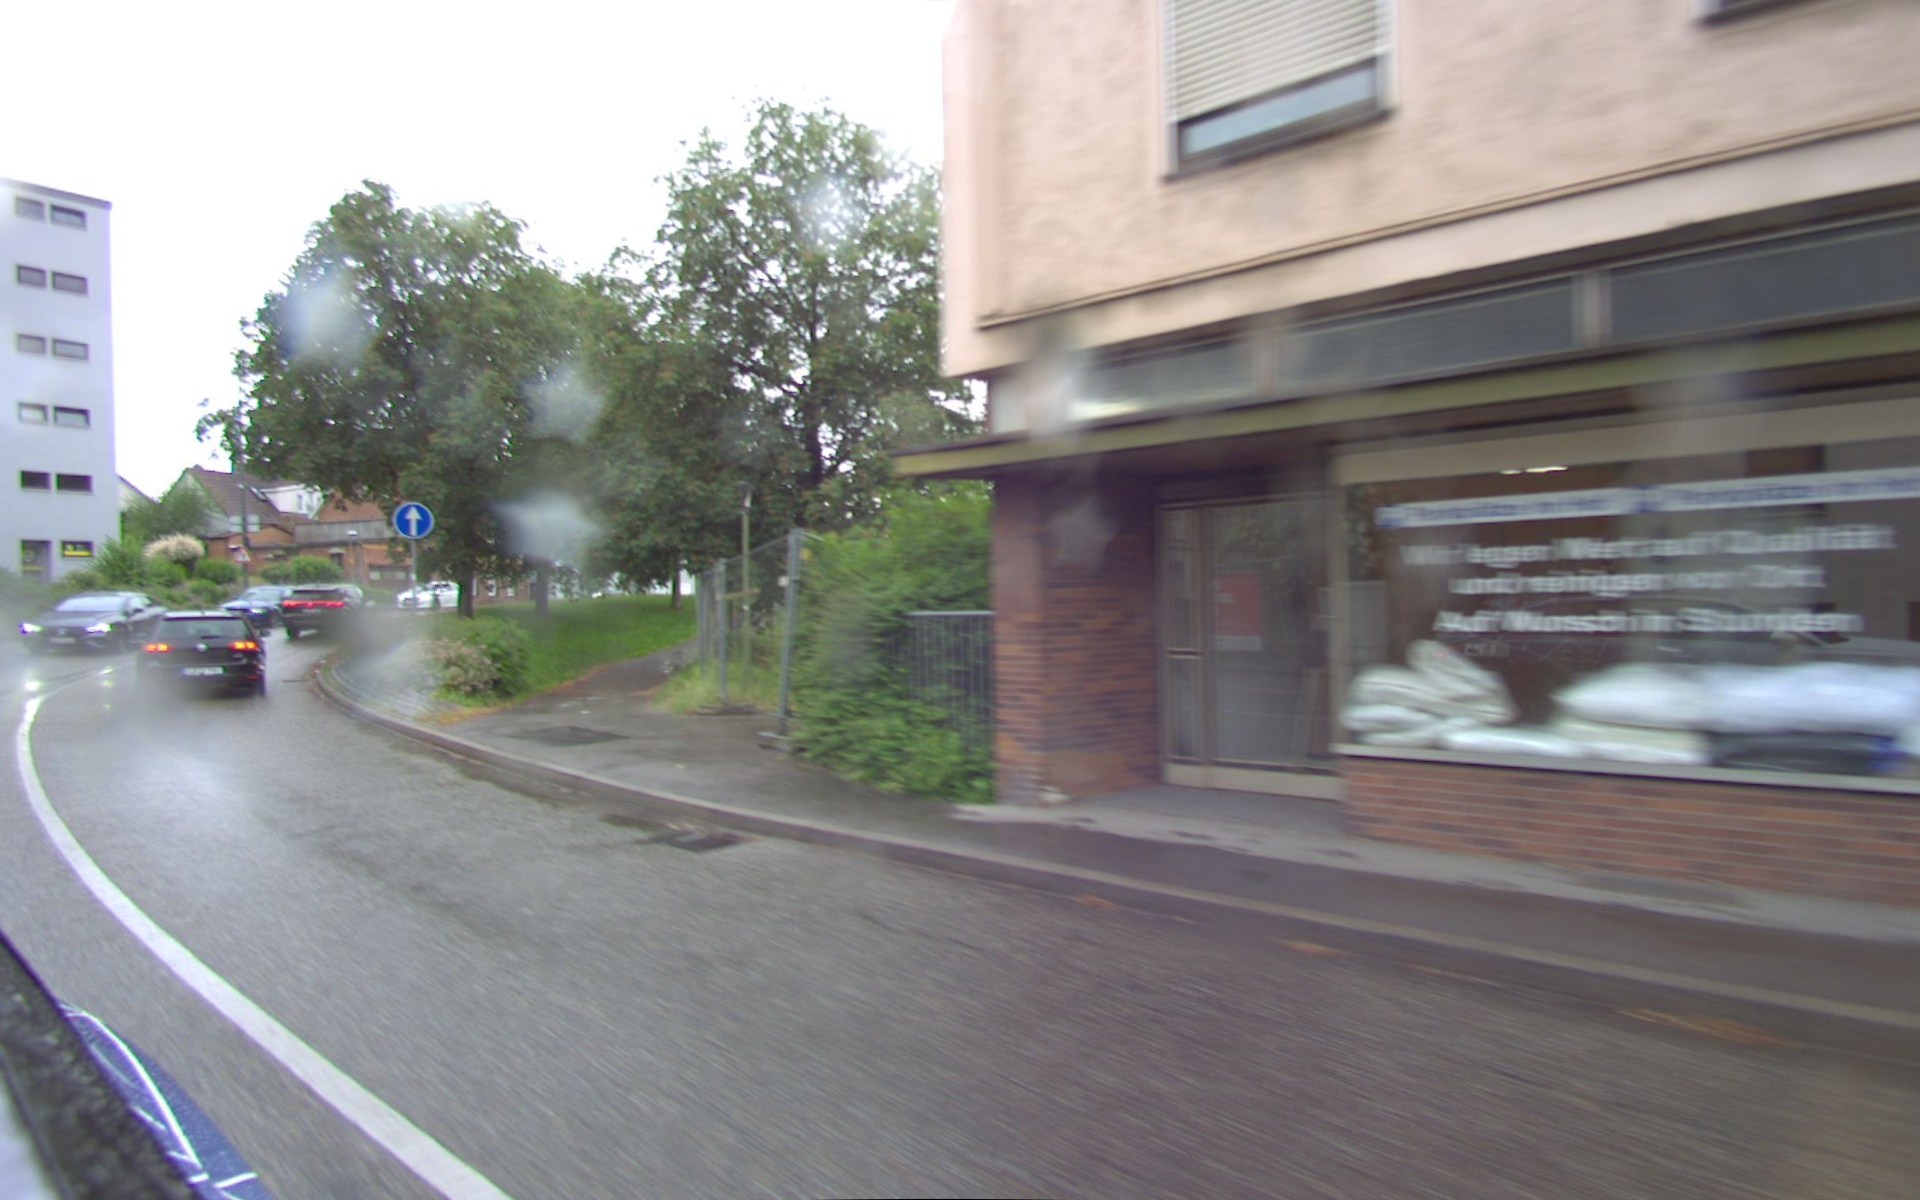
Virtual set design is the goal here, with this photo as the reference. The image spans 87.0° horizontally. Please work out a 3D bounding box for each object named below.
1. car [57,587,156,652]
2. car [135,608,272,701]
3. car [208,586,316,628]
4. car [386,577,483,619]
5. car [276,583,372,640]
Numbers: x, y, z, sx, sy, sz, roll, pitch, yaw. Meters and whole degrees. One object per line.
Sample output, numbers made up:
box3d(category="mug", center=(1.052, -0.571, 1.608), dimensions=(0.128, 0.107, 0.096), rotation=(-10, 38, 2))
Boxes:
box3d(category="car", center=(-22.738, 0.474, 26.887), dimensions=(1.811, 1.525, 4.854), rotation=(-2, 1, -42))
box3d(category="car", center=(-13.288, 0.861, 17.721), dimensions=(1.747, 1.412, 3.927), rotation=(0, 0, -39))
box3d(category="car", center=(-25.079, 0.222, 36.565), dimensions=(1.761, 1.357, 4.960), rotation=(-3, 1, -17))
box3d(category="car", center=(-26.636, -0.047, 51.534), dimensions=(1.880, 1.672, 4.931), rotation=(-2, -5, 8))
box3d(category="car", center=(-20.544, 0.334, 32.861), dimensions=(1.867, 1.607, 4.370), rotation=(2, 1, -22))
